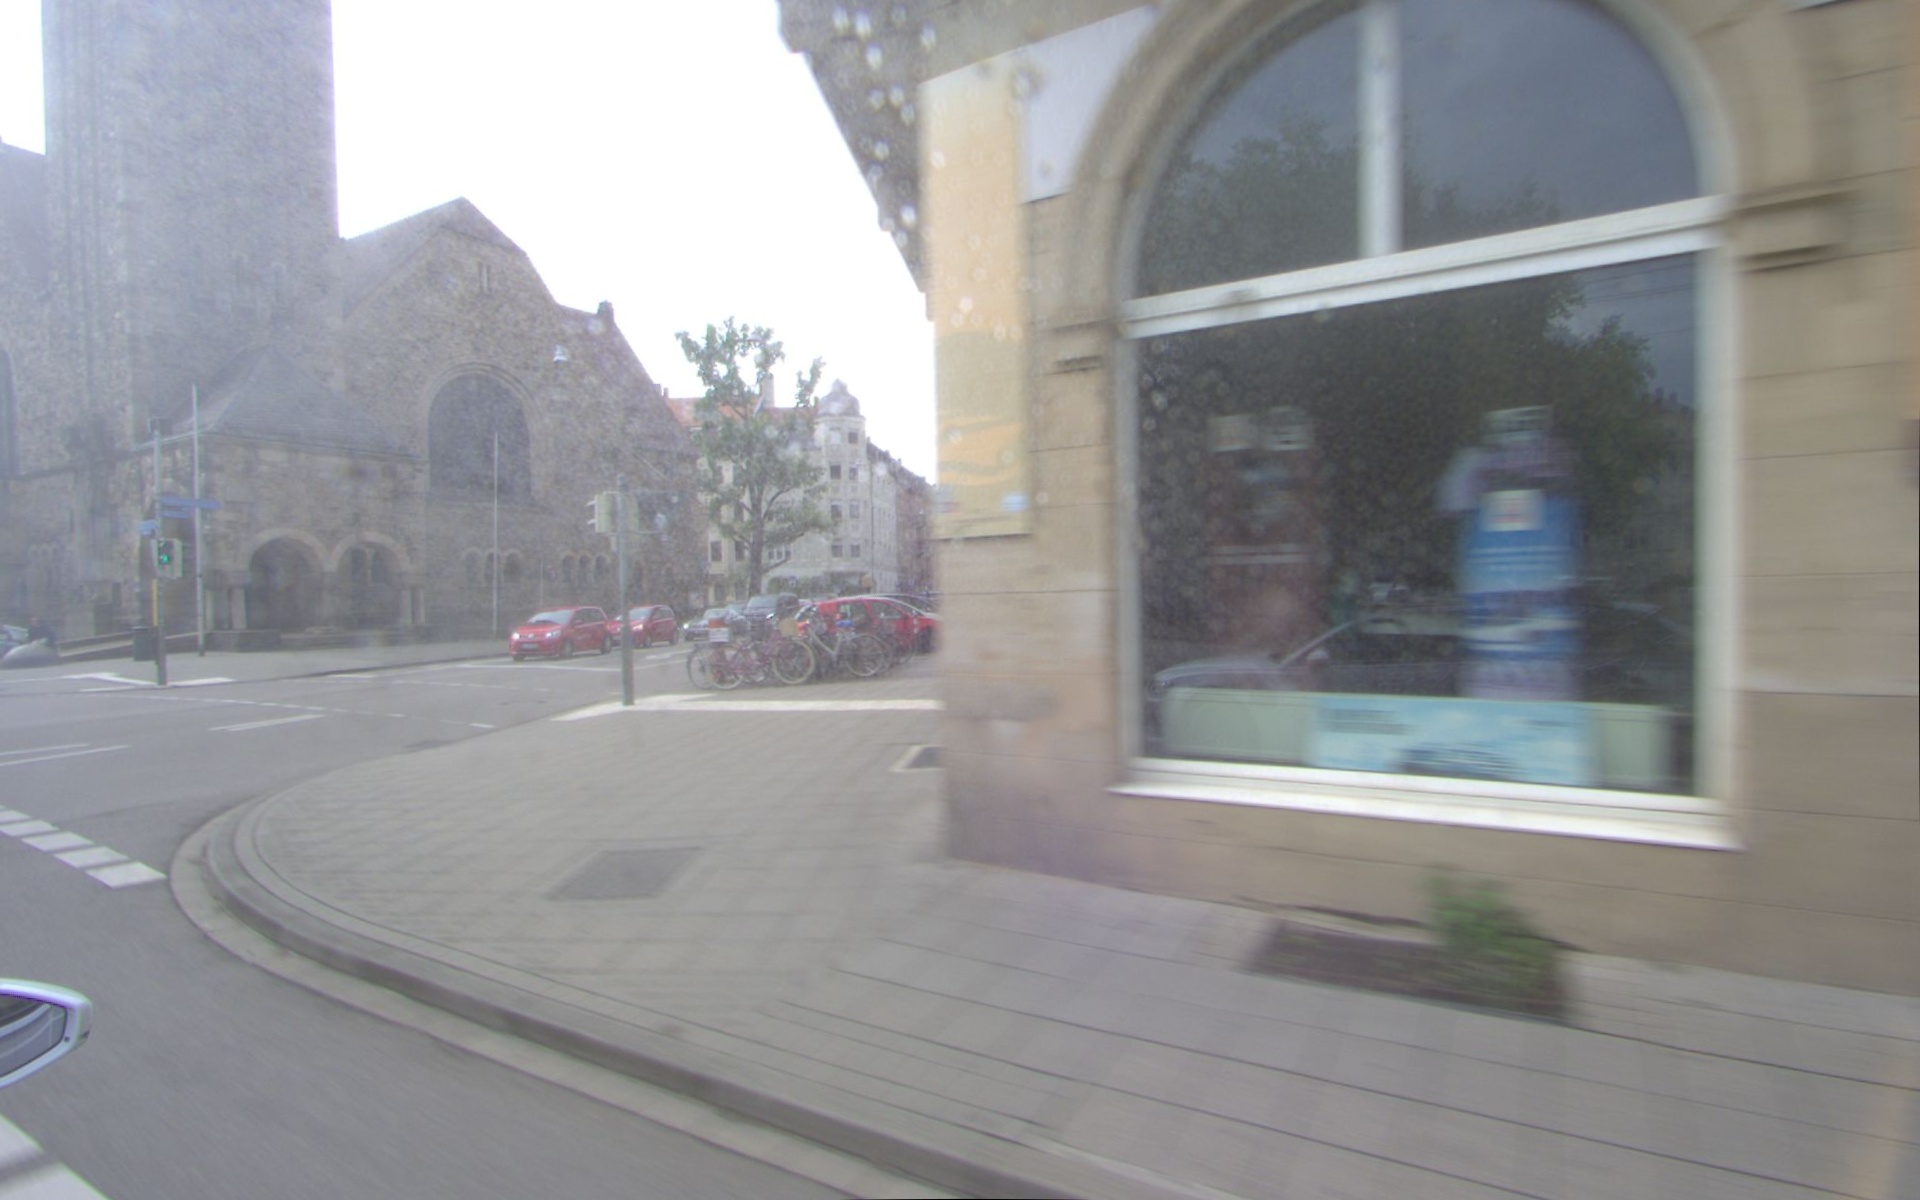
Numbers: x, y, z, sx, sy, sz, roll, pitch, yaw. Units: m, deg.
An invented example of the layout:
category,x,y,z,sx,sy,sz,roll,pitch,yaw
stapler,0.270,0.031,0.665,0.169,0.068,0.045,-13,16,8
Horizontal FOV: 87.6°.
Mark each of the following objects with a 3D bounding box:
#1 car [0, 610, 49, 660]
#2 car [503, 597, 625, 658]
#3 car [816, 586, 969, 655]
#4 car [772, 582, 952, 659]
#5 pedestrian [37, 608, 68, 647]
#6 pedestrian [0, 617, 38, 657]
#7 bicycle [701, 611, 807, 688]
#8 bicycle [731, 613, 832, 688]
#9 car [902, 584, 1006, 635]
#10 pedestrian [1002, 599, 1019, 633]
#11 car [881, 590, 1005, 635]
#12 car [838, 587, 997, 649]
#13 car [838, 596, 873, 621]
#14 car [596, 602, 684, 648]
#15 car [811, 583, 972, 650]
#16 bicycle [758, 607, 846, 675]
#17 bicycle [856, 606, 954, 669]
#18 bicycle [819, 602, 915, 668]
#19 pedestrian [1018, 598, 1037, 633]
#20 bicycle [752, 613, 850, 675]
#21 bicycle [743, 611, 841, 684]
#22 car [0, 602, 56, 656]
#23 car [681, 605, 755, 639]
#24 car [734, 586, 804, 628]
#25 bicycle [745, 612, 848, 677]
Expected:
category,x,y,z,sx,sy,sz,roll,pitch,yaw
car,-32.694,1.145,32.523,1.638,1.657,4.342,0,-1,31
car,-11.522,0.751,29.400,1.623,1.548,3.891,-3,1,7
car,-1.771,0.535,26.482,3.540,1.528,1.838,-4,0,-35
car,-2.226,0.451,23.223,3.790,1.582,1.780,-2,0,-40
pedestrian,-29.146,0.880,32.159,0.732,1.244,1.052,0,-1,-44
pedestrian,-29.514,1.143,31.229,1.471,1.207,0.735,-1,-1,32
bicycle,-3.326,0.798,16.193,1.542,1.141,0.476,-4,-1,6
bicycle,-2.972,0.841,16.709,1.542,1.141,0.476,-4,-1,6
car,-0.244,0.387,44.200,4.225,1.932,1.867,-4,2,-35
pedestrian,2.328,0.734,46.368,0.555,1.549,0.550,0,0,-36
car,-0.604,0.460,38.195,4.403,1.573,1.841,-2,0,-32
car,-1.325,0.562,32.092,4.682,1.707,1.928,-3,0,-30
car,-8.482,0.656,81.569,1.814,1.965,4.545,0,0,8
car,-11.196,0.853,35.251,1.576,1.476,3.718,-3,-1,5
car,-1.963,0.464,28.859,4.160,1.704,1.908,-2,0,-28
bicycle,-3.041,0.788,19.299,1.542,1.187,0.476,-4,-1,6
bicycle,-1.003,0.694,18.480,1.705,1.052,0.476,-4,-1,6
bicycle,-1.819,0.685,19.711,1.751,1.187,0.495,-4,-1,6
pedestrian,3.050,0.715,45.292,0.633,1.549,0.577,0,0,-36
bicycle,-2.973,0.819,18.776,1.705,1.052,0.476,-4,-1,6
bicycle,-2.883,0.819,17.221,1.542,1.141,0.476,-4,-1,6
car,-35.016,1.034,35.168,1.638,1.906,4.604,0,-1,31
car,-10.134,0.898,42.239,1.677,1.303,4.041,-3,-1,7
car,-9.274,0.313,49.042,1.881,1.981,5.281,0,0,7
bicycle,-2.952,0.803,18.122,1.705,1.052,0.476,-4,-1,6
